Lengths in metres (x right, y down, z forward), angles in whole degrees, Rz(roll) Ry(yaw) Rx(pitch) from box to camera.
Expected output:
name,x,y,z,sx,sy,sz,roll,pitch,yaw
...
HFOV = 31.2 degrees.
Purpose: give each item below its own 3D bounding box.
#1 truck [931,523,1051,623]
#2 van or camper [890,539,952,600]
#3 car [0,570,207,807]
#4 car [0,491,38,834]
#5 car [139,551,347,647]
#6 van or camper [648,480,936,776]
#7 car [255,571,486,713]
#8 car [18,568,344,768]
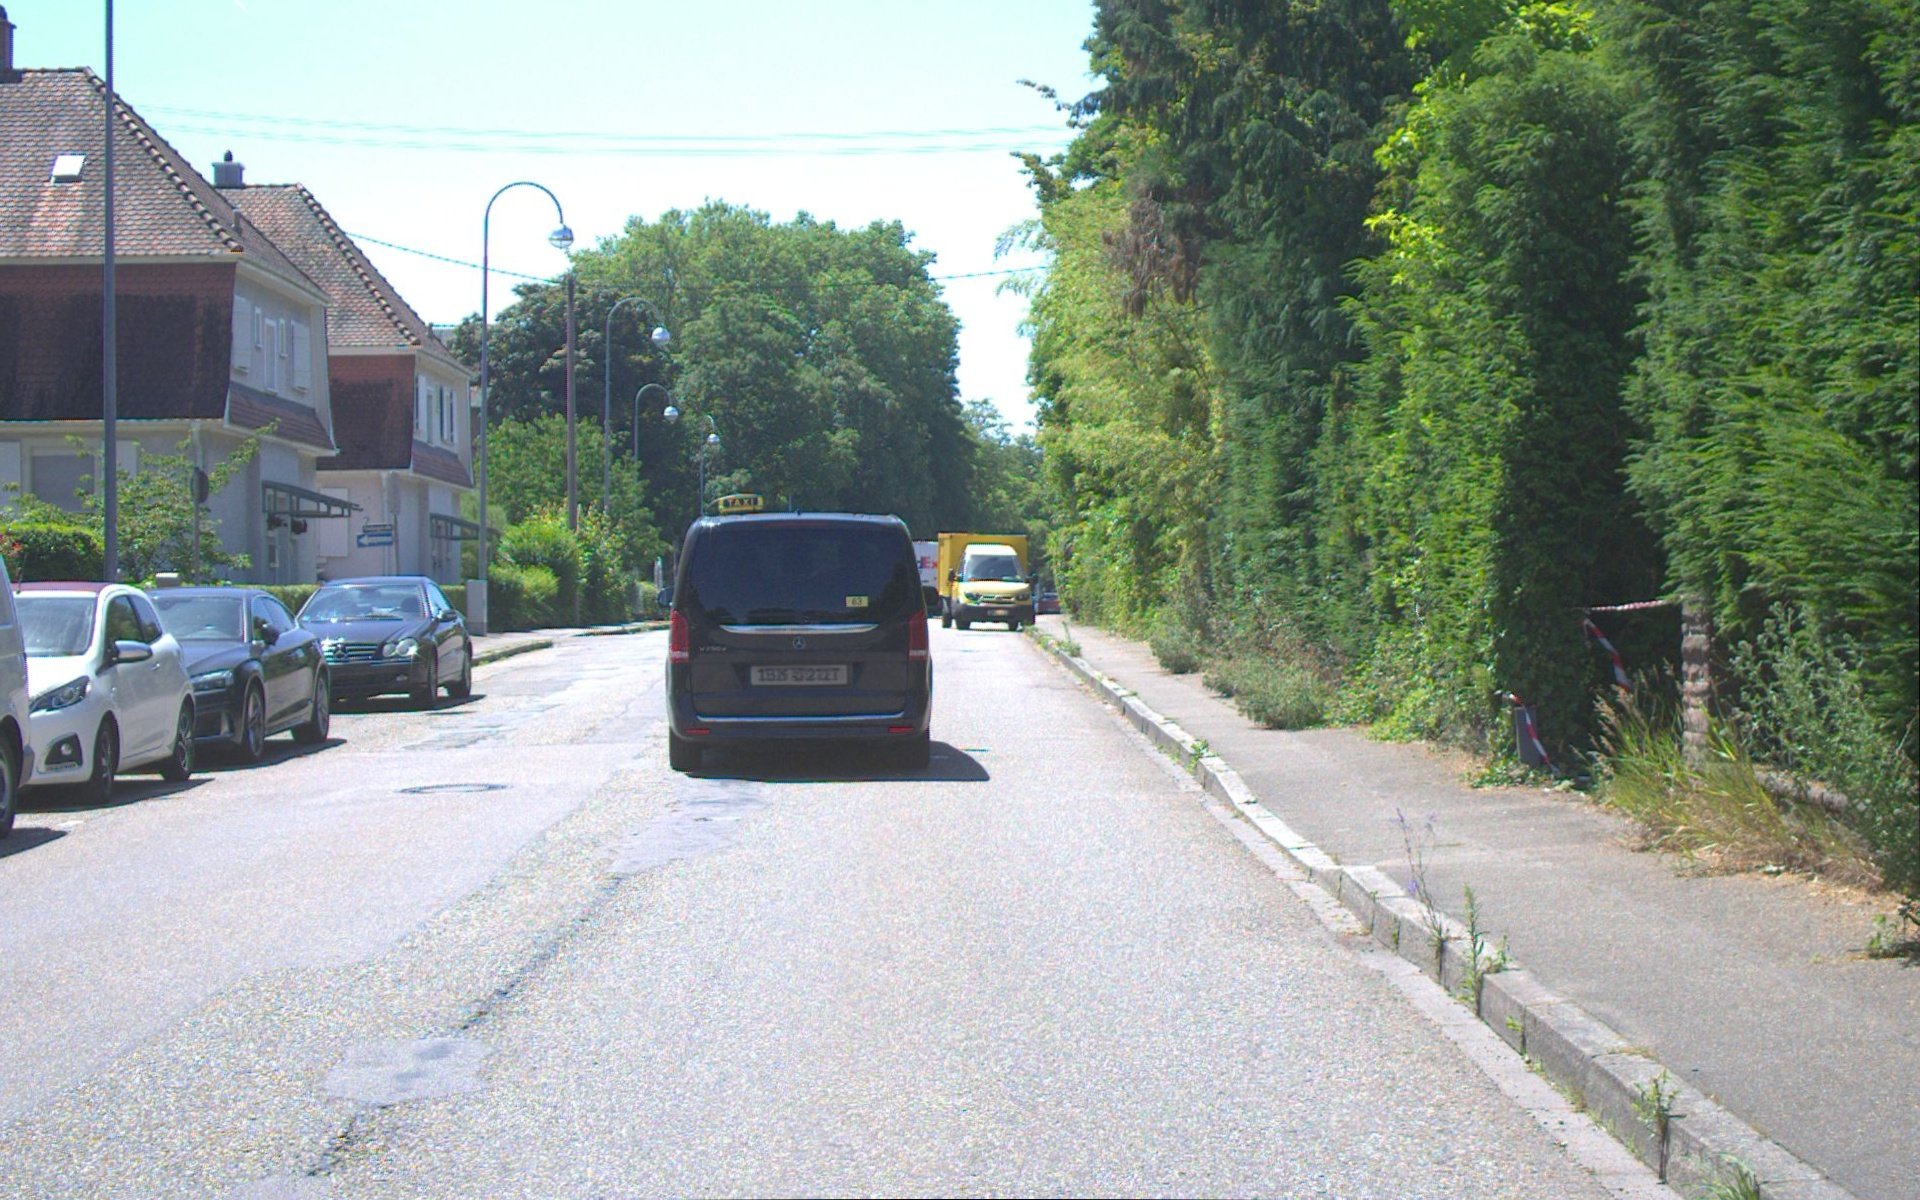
name,x,y,z,sx,sy,sz,roll,pitch,yaw
truck,0.681,-0.616,80.638,2.355,2.251,6.092,0,0,-4
van or camper,-1.310,-1.023,116.567,1.993,2.007,4.000,0,0,1
car,-6.404,0.563,23.634,1.666,1.487,3.478,-2,1,0
car,-6.418,0.413,18.060,1.878,1.956,4.626,-3,1,-1
car,-14.753,-0.030,70.903,3.867,1.898,1.880,-1,0,0
van or camper,-1.165,0.177,26.126,1.902,2.007,5.270,1,0,0
car,-6.341,0.409,37.407,1.666,1.381,4.380,-2,1,1
car,-6.289,0.497,28.213,1.666,1.487,4.466,0,1,0
